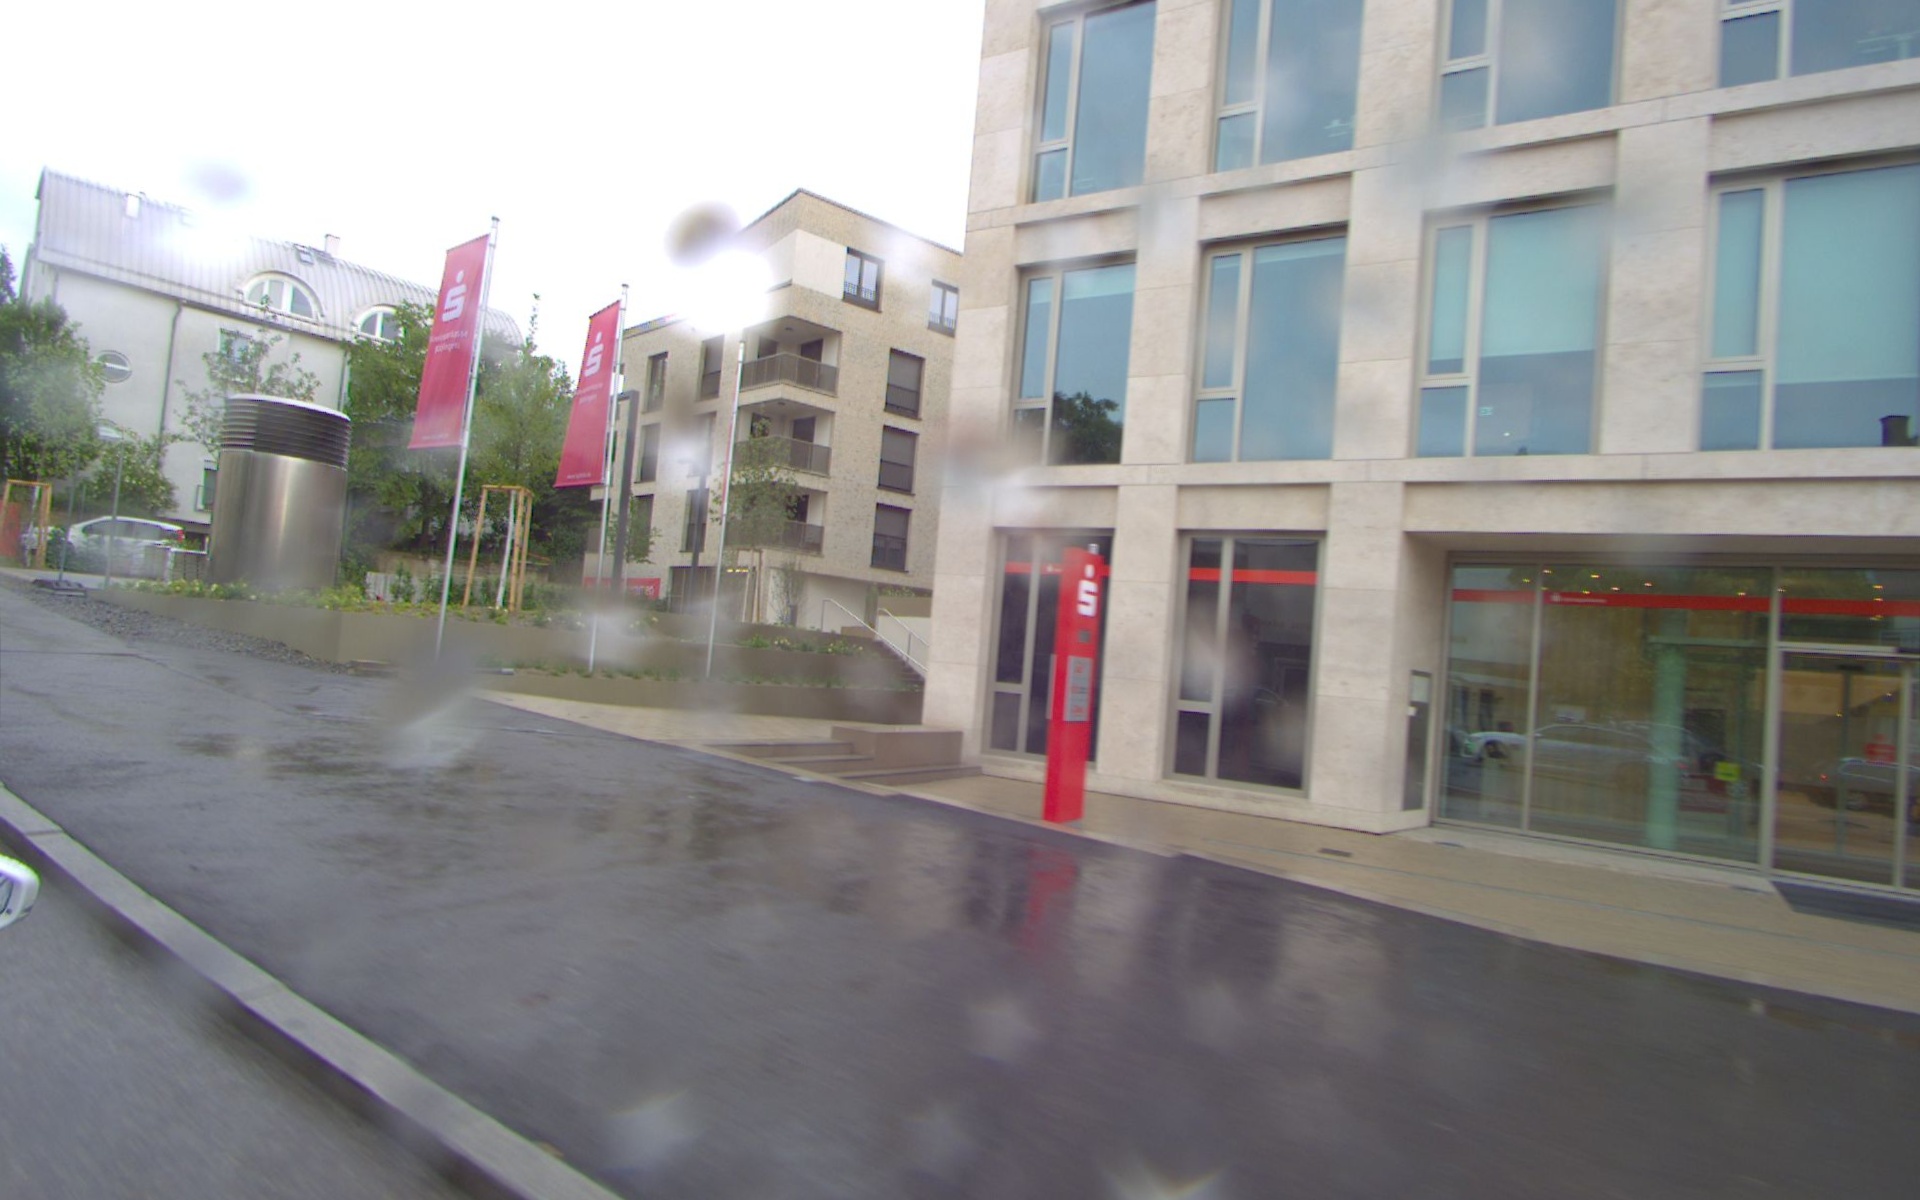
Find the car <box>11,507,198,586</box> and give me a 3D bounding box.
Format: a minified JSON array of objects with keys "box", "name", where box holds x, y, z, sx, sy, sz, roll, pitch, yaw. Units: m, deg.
[{"box":[-23.704,-1.449,27.951,1.753,1.520,3.664,6,-3,43],"name":"car"}]
